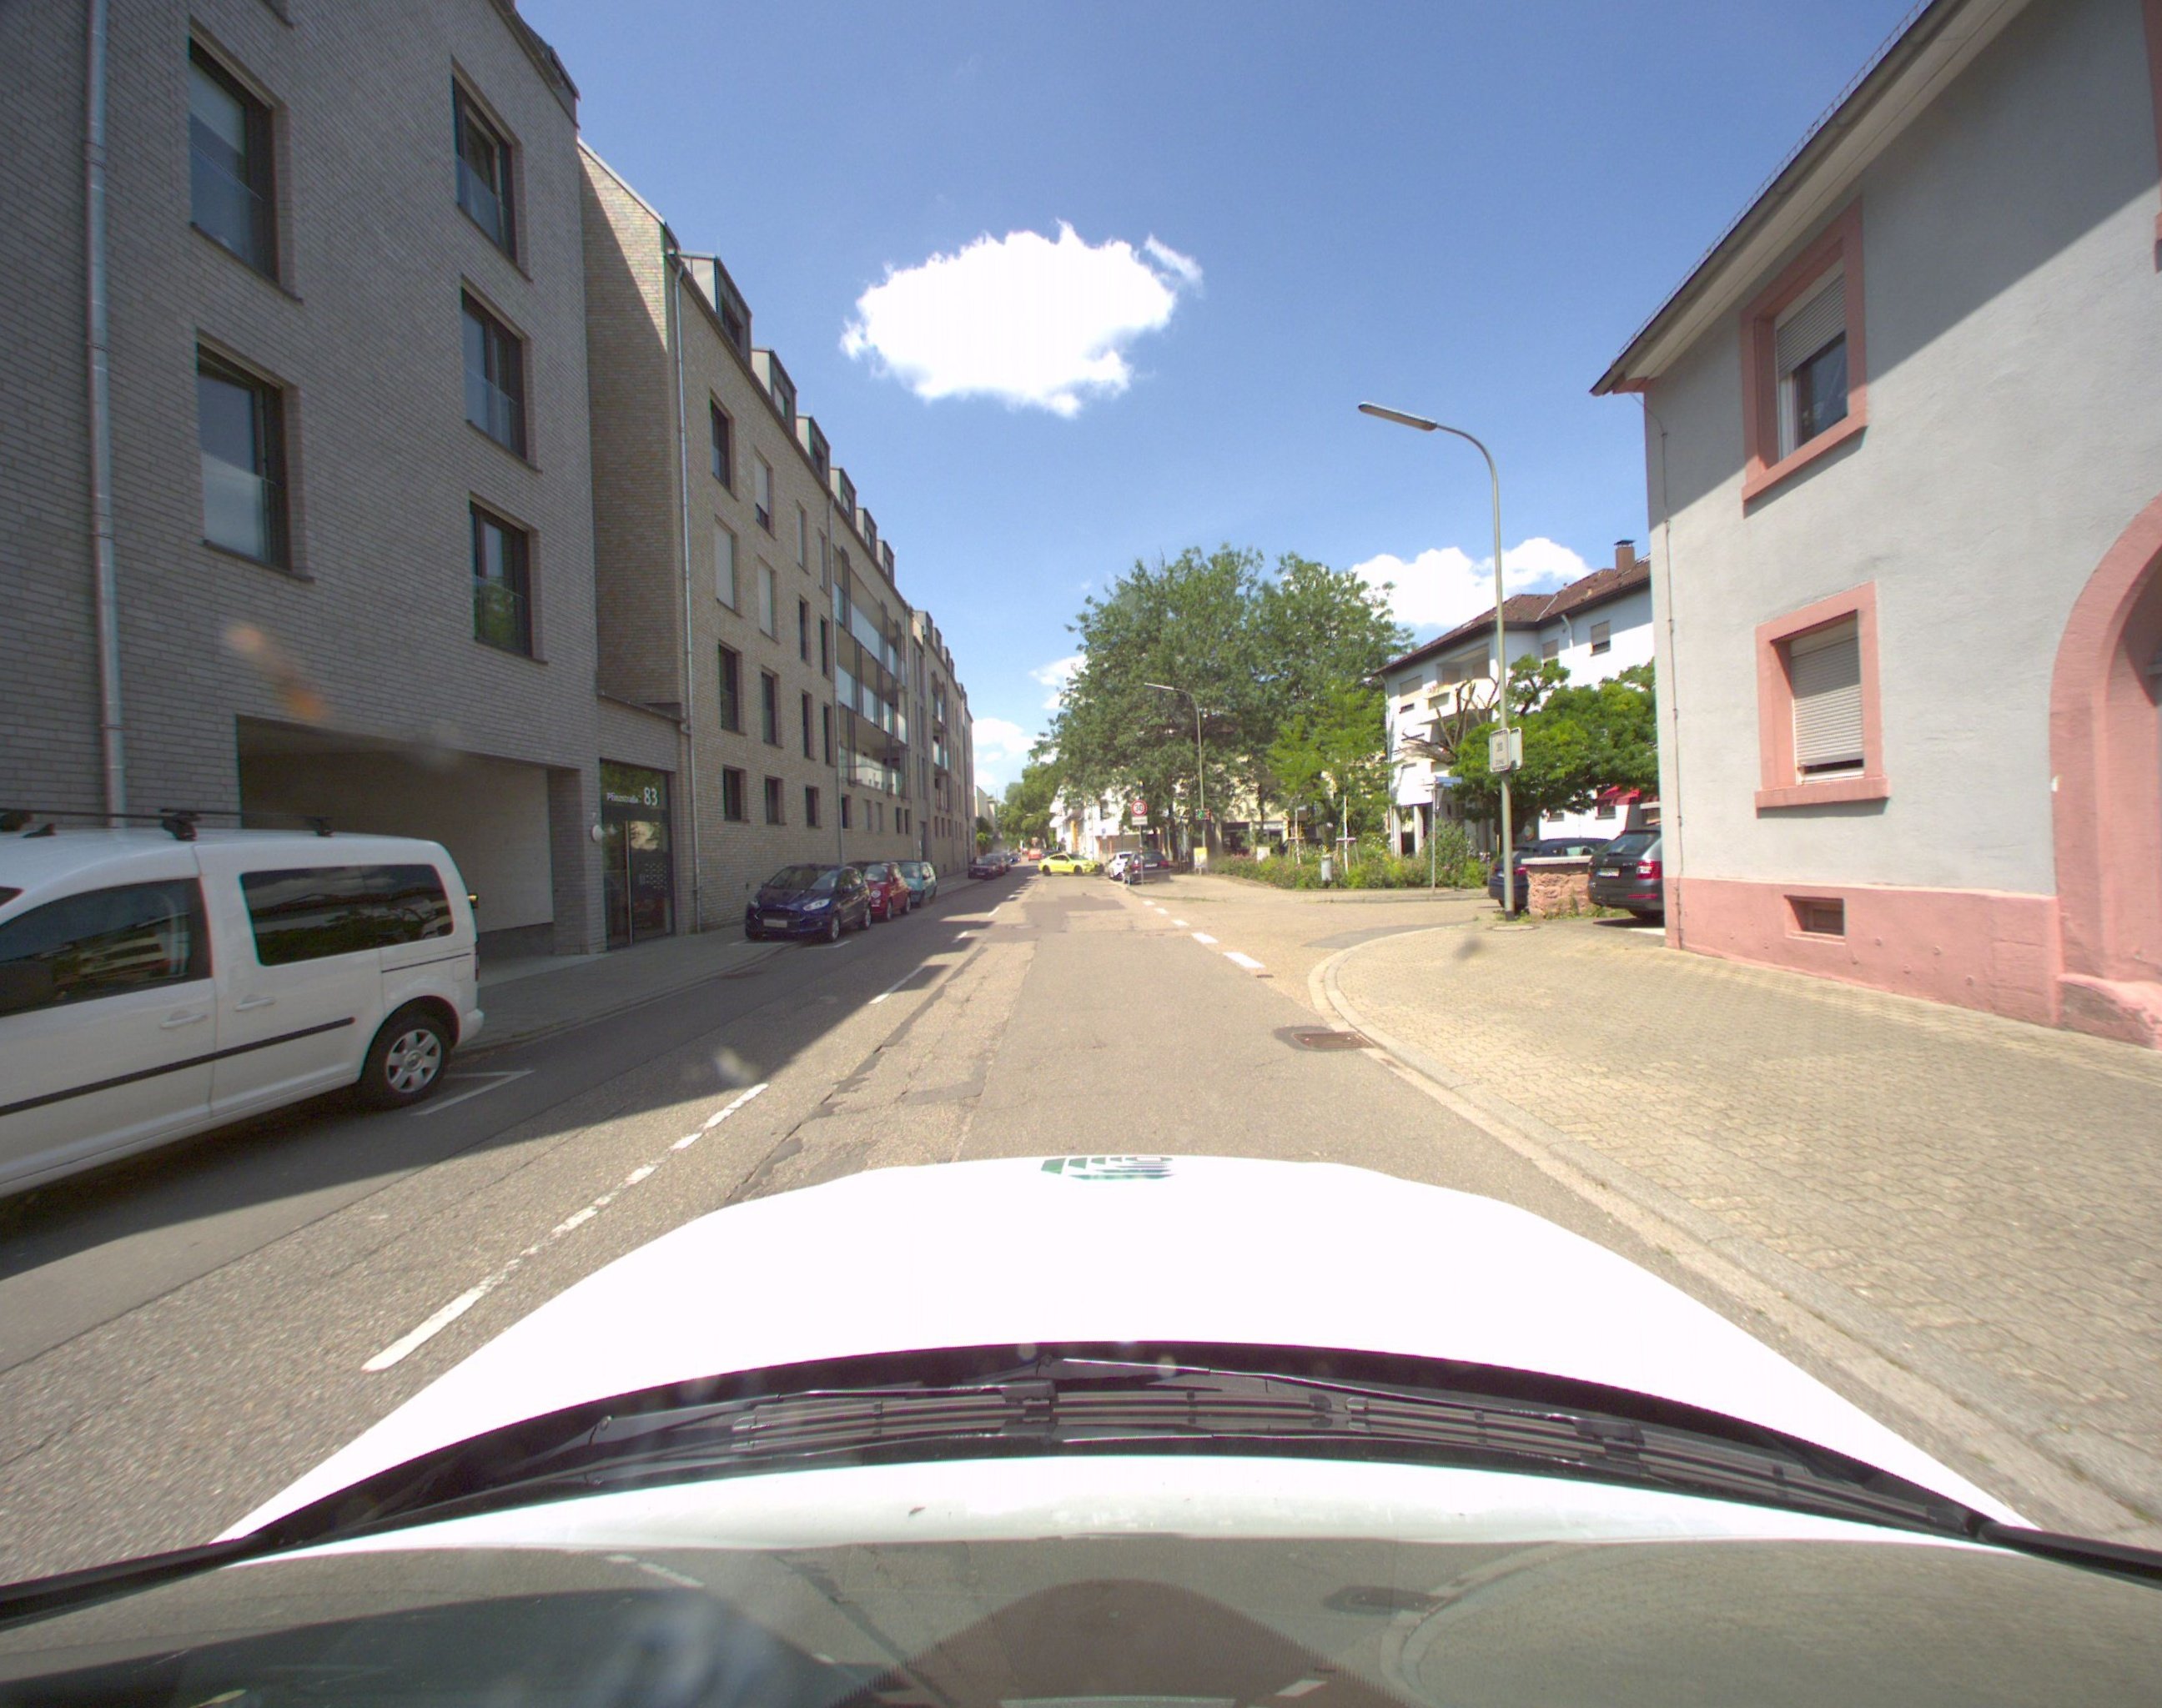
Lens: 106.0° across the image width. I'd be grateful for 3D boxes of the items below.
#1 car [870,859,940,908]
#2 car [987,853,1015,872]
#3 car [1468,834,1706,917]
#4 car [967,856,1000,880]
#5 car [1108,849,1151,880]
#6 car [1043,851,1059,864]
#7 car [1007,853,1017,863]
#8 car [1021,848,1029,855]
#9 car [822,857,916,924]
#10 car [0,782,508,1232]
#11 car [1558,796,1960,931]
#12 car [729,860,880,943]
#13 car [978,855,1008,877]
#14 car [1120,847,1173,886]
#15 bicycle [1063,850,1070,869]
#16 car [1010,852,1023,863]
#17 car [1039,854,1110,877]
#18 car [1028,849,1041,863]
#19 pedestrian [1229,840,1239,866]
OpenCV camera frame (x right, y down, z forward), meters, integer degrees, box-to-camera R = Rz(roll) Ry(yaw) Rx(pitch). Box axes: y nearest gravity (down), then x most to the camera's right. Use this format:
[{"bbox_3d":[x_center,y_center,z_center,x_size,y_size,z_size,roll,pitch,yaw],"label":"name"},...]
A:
[{"bbox_3d":[-5.694,0.903,26.753,1.586,1.456,3.701,0,0,-2],"label":"car"},{"bbox_3d":[-6.255,0.646,64.272,1.821,1.420,3.999,0,0,-1],"label":"car"},{"bbox_3d":[9.810,0.419,15.981,3.589,1.449,1.740,-1,-2,-2],"label":"car"},{"bbox_3d":[-6.158,0.860,51.809,1.728,1.442,3.997,-2,0,-2],"label":"car"},{"bbox_3d":[2.418,0.510,41.554,1.774,1.420,3.997,-2,0,-2],"label":"car"},{"bbox_3d":[-3.500,0.355,94.377,1.710,1.402,3.999,-2,1,-1],"label":"car"},{"bbox_3d":[-15.325,0.927,180.750,1.989,2.013,3.997,-2,0,-2],"label":"car"},{"bbox_3d":[-16.070,-0.770,235.446,2.153,2.013,3.993,-2,0,-5],"label":"car"},{"bbox_3d":[-5.510,0.889,21.546,1.586,1.554,3.568,-2,0,-2],"label":"car"},{"bbox_3d":[-5.384,0.634,4.108,1.750,1.892,4.340,0,0,3],"label":"car"},{"bbox_3d":[9.620,0.153,11.835,4.252,1.530,1.742,-4,-1,2],"label":"car"},{"bbox_3d":[-5.514,0.881,16.804,1.717,1.456,4.005,-1,0,0],"label":"car"},{"bbox_3d":[-6.108,0.807,56.854,1.728,1.442,3.997,-2,0,-2],"label":"car"},{"bbox_3d":[2.730,0.514,34.623,1.688,1.420,3.997,-5,0,-2],"label":"car"},{"bbox_3d":[-1.162,0.421,63.159,0.476,1.490,0.576,-2,0,-2],"label":"bicycle"},{"bbox_3d":[-10.458,0.556,132.798,1.989,1.519,3.995,-3,0,-4],"label":"car"},{"bbox_3d":[-0.423,0.672,50.937,2.011,1.381,4.338,0,0,-44],"label":"car"},{"bbox_3d":[-7.178,0.232,124.893,1.834,2.013,3.996,-2,1,-3],"label":"car"},{"bbox_3d":[11.110,-0.078,59.150,0.590,1.859,0.607,-2,0,22],"label":"pedestrian"}]
